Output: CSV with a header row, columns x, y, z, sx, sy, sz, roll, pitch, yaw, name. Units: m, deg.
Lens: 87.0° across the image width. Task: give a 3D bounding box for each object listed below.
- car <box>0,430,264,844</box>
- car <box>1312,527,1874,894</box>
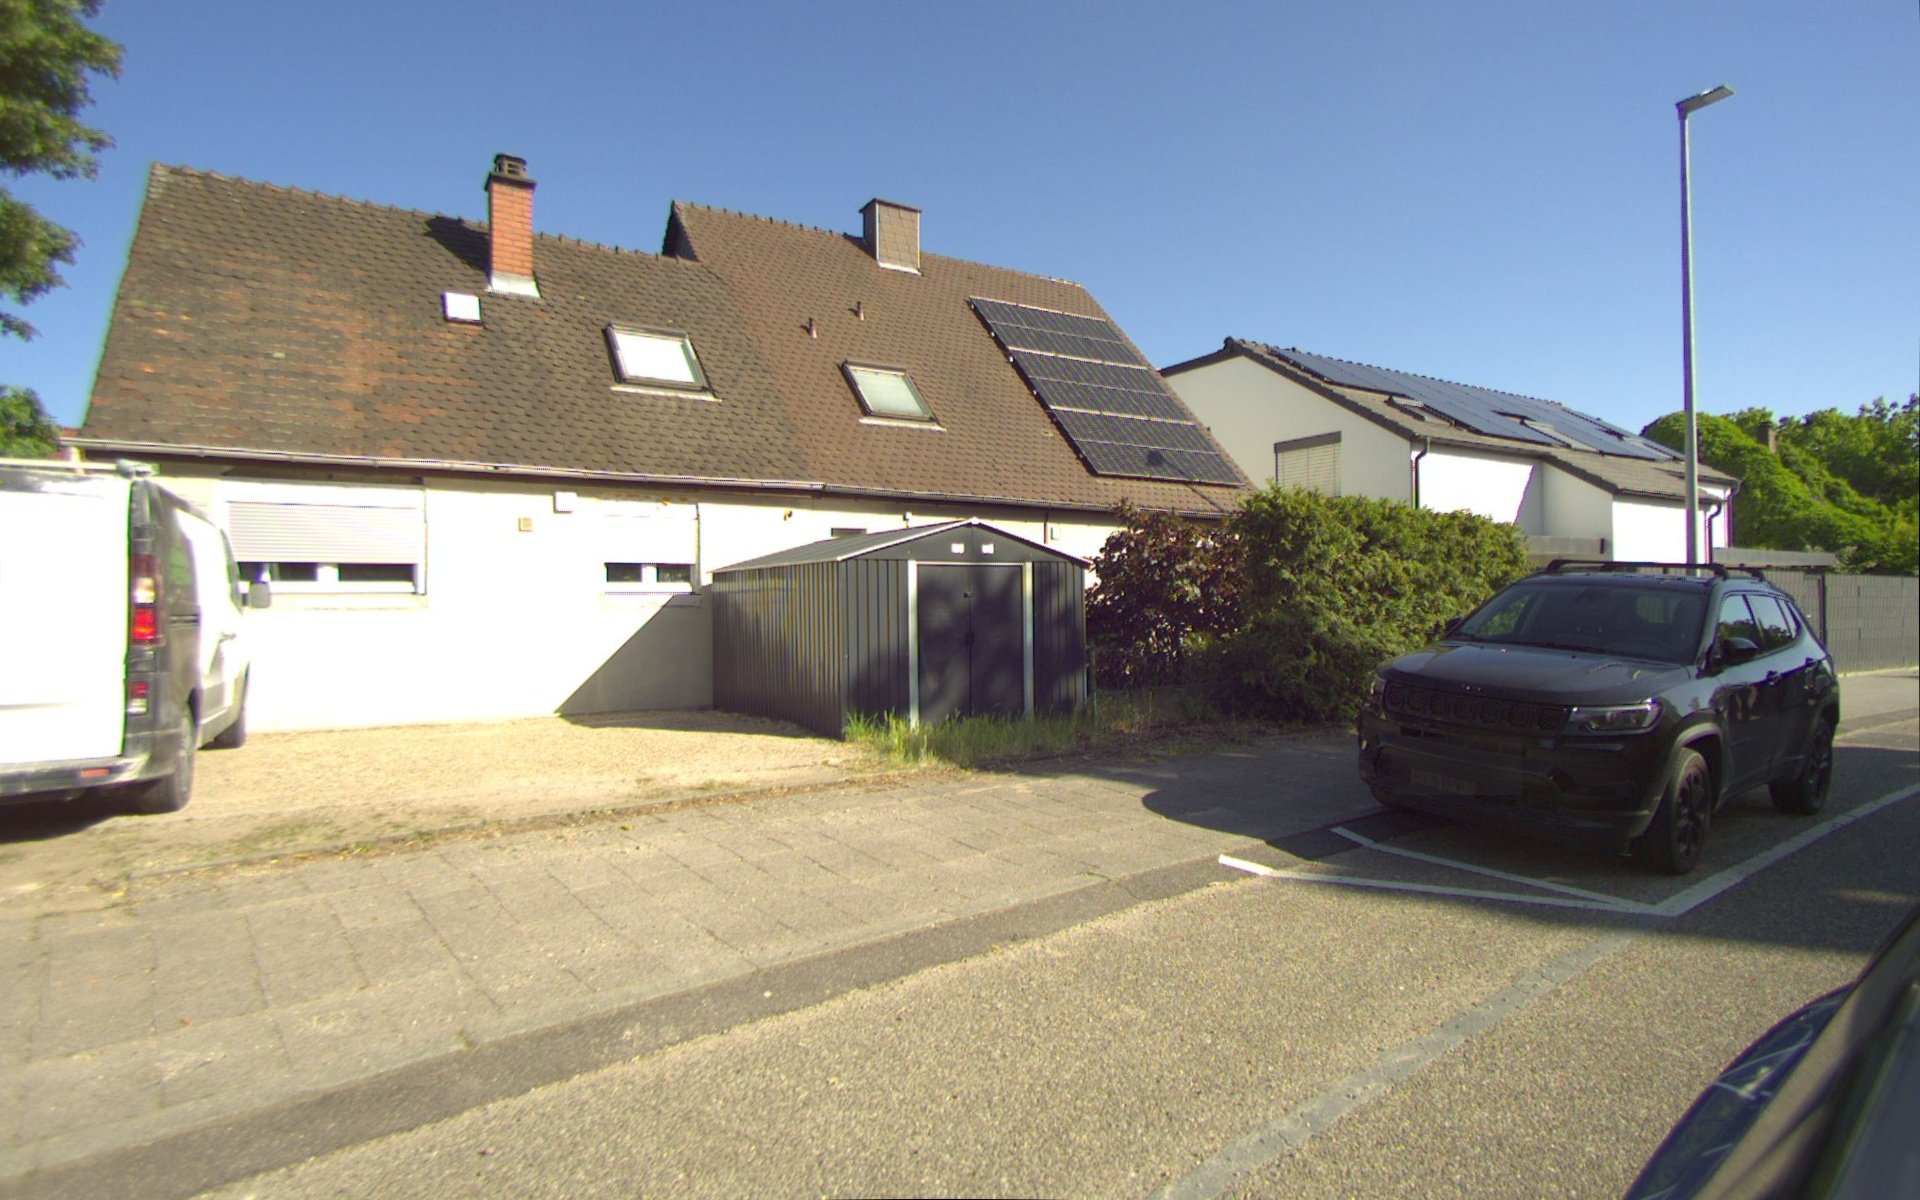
x,y,z,sx,sy,sz,roll,pitch,yaw,name
-6.148,0.167,6.757,2.100,2.008,4.700,-1,1,-30,car
4.400,0.491,6.798,4.214,1.745,1.783,-1,1,-36,car
